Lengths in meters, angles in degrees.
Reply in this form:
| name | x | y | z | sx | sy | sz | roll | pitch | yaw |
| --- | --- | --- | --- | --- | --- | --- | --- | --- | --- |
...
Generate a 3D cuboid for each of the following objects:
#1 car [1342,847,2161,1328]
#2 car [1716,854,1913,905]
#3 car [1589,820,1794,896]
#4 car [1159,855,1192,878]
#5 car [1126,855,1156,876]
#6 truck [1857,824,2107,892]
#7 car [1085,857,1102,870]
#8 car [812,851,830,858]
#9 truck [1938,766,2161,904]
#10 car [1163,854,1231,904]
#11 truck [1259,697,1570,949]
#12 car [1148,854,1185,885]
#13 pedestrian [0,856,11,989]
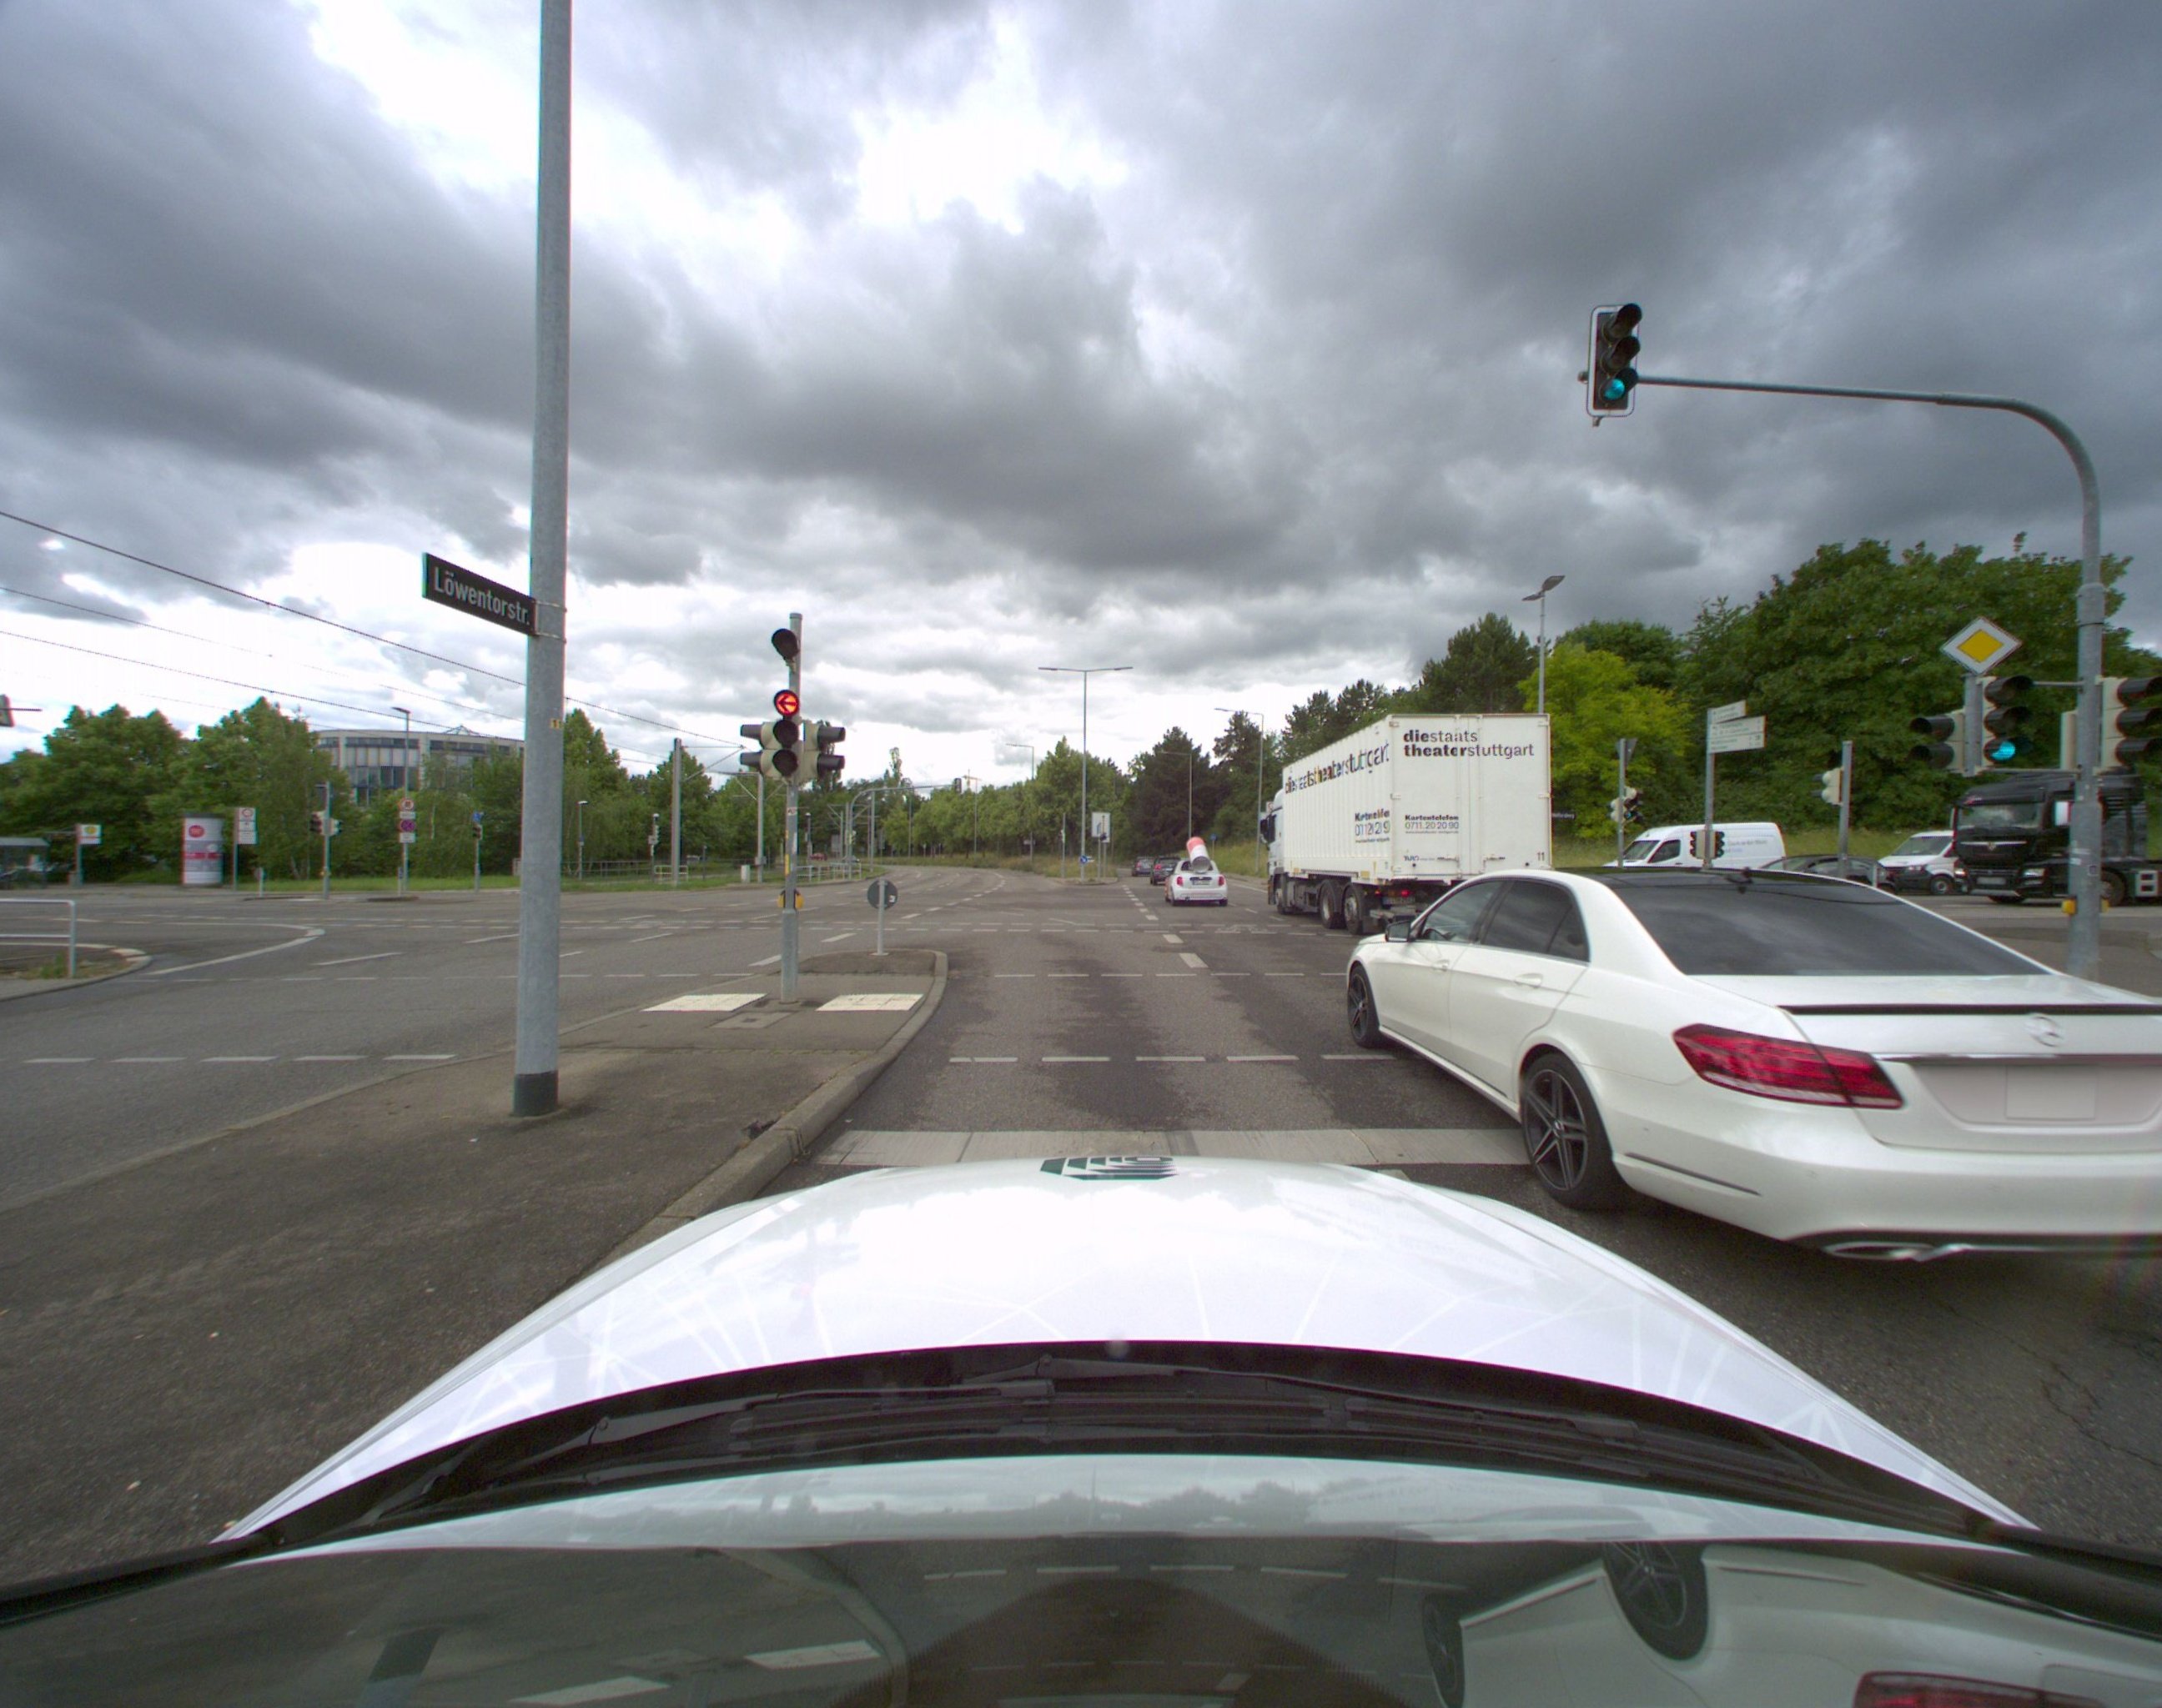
| name | x | y | z | sx | sy | sz | roll | pitch | yaw |
| --- | --- | --- | --- | --- | --- | --- | --- | --- | --- |
| car | 2.974 | 0.706 | 4.565 | 1.792 | 1.412 | 4.319 | 0 | -1 | 2 |
| car | 20.345 | 0.696 | 22.709 | 3.859 | 1.338 | 1.698 | 0 | -1 | 4 |
| car | 21.873 | 0.162 | 29.388 | 5.780 | 2.630 | 2.002 | 0 | -1 | 3 |
| car | 6.072 | 0.779 | 52.554 | 1.740 | 1.382 | 4.292 | 0 | 0 | 2 |
| car | 4.605 | 0.849 | 62.595 | 1.743 | 1.508 | 4.042 | 0 | 0 | -4 |
| truck | 31.478 | 0.158 | 28.642 | 5.992 | 2.230 | 2.165 | 0 | -1 | 5 |
| car | 1.445 | 1.167 | 97.571 | 1.840 | 1.506 | 4.526 | 0 | -1 | -2 |
| car | -54.364 | 0.113 | 170.490 | 3.837 | 1.603 | 1.801 | -1 | -1 | 40 |
| truck | 27.979 | -0.504 | 22.281 | 5.971 | 3.486 | 2.694 | -1 | -1 | 4 |
| car | 3.656 | 0.760 | 26.139 | 1.814 | 1.506 | 3.496 | 0 | -1 | 2 |
| truck | 6.307 | -0.516 | 17.760 | 2.793 | 3.903 | 10.184 | 0 | 0 | 1 |
| car | 4.434 | 0.782 | 42.543 | 1.618 | 1.493 | 3.838 | 0 | 0 | 1 |
| pedestrian | -12.858 | 0.792 | 9.172 | 0.632 | 1.536 | 0.719 | 0 | -1 | -2 |
